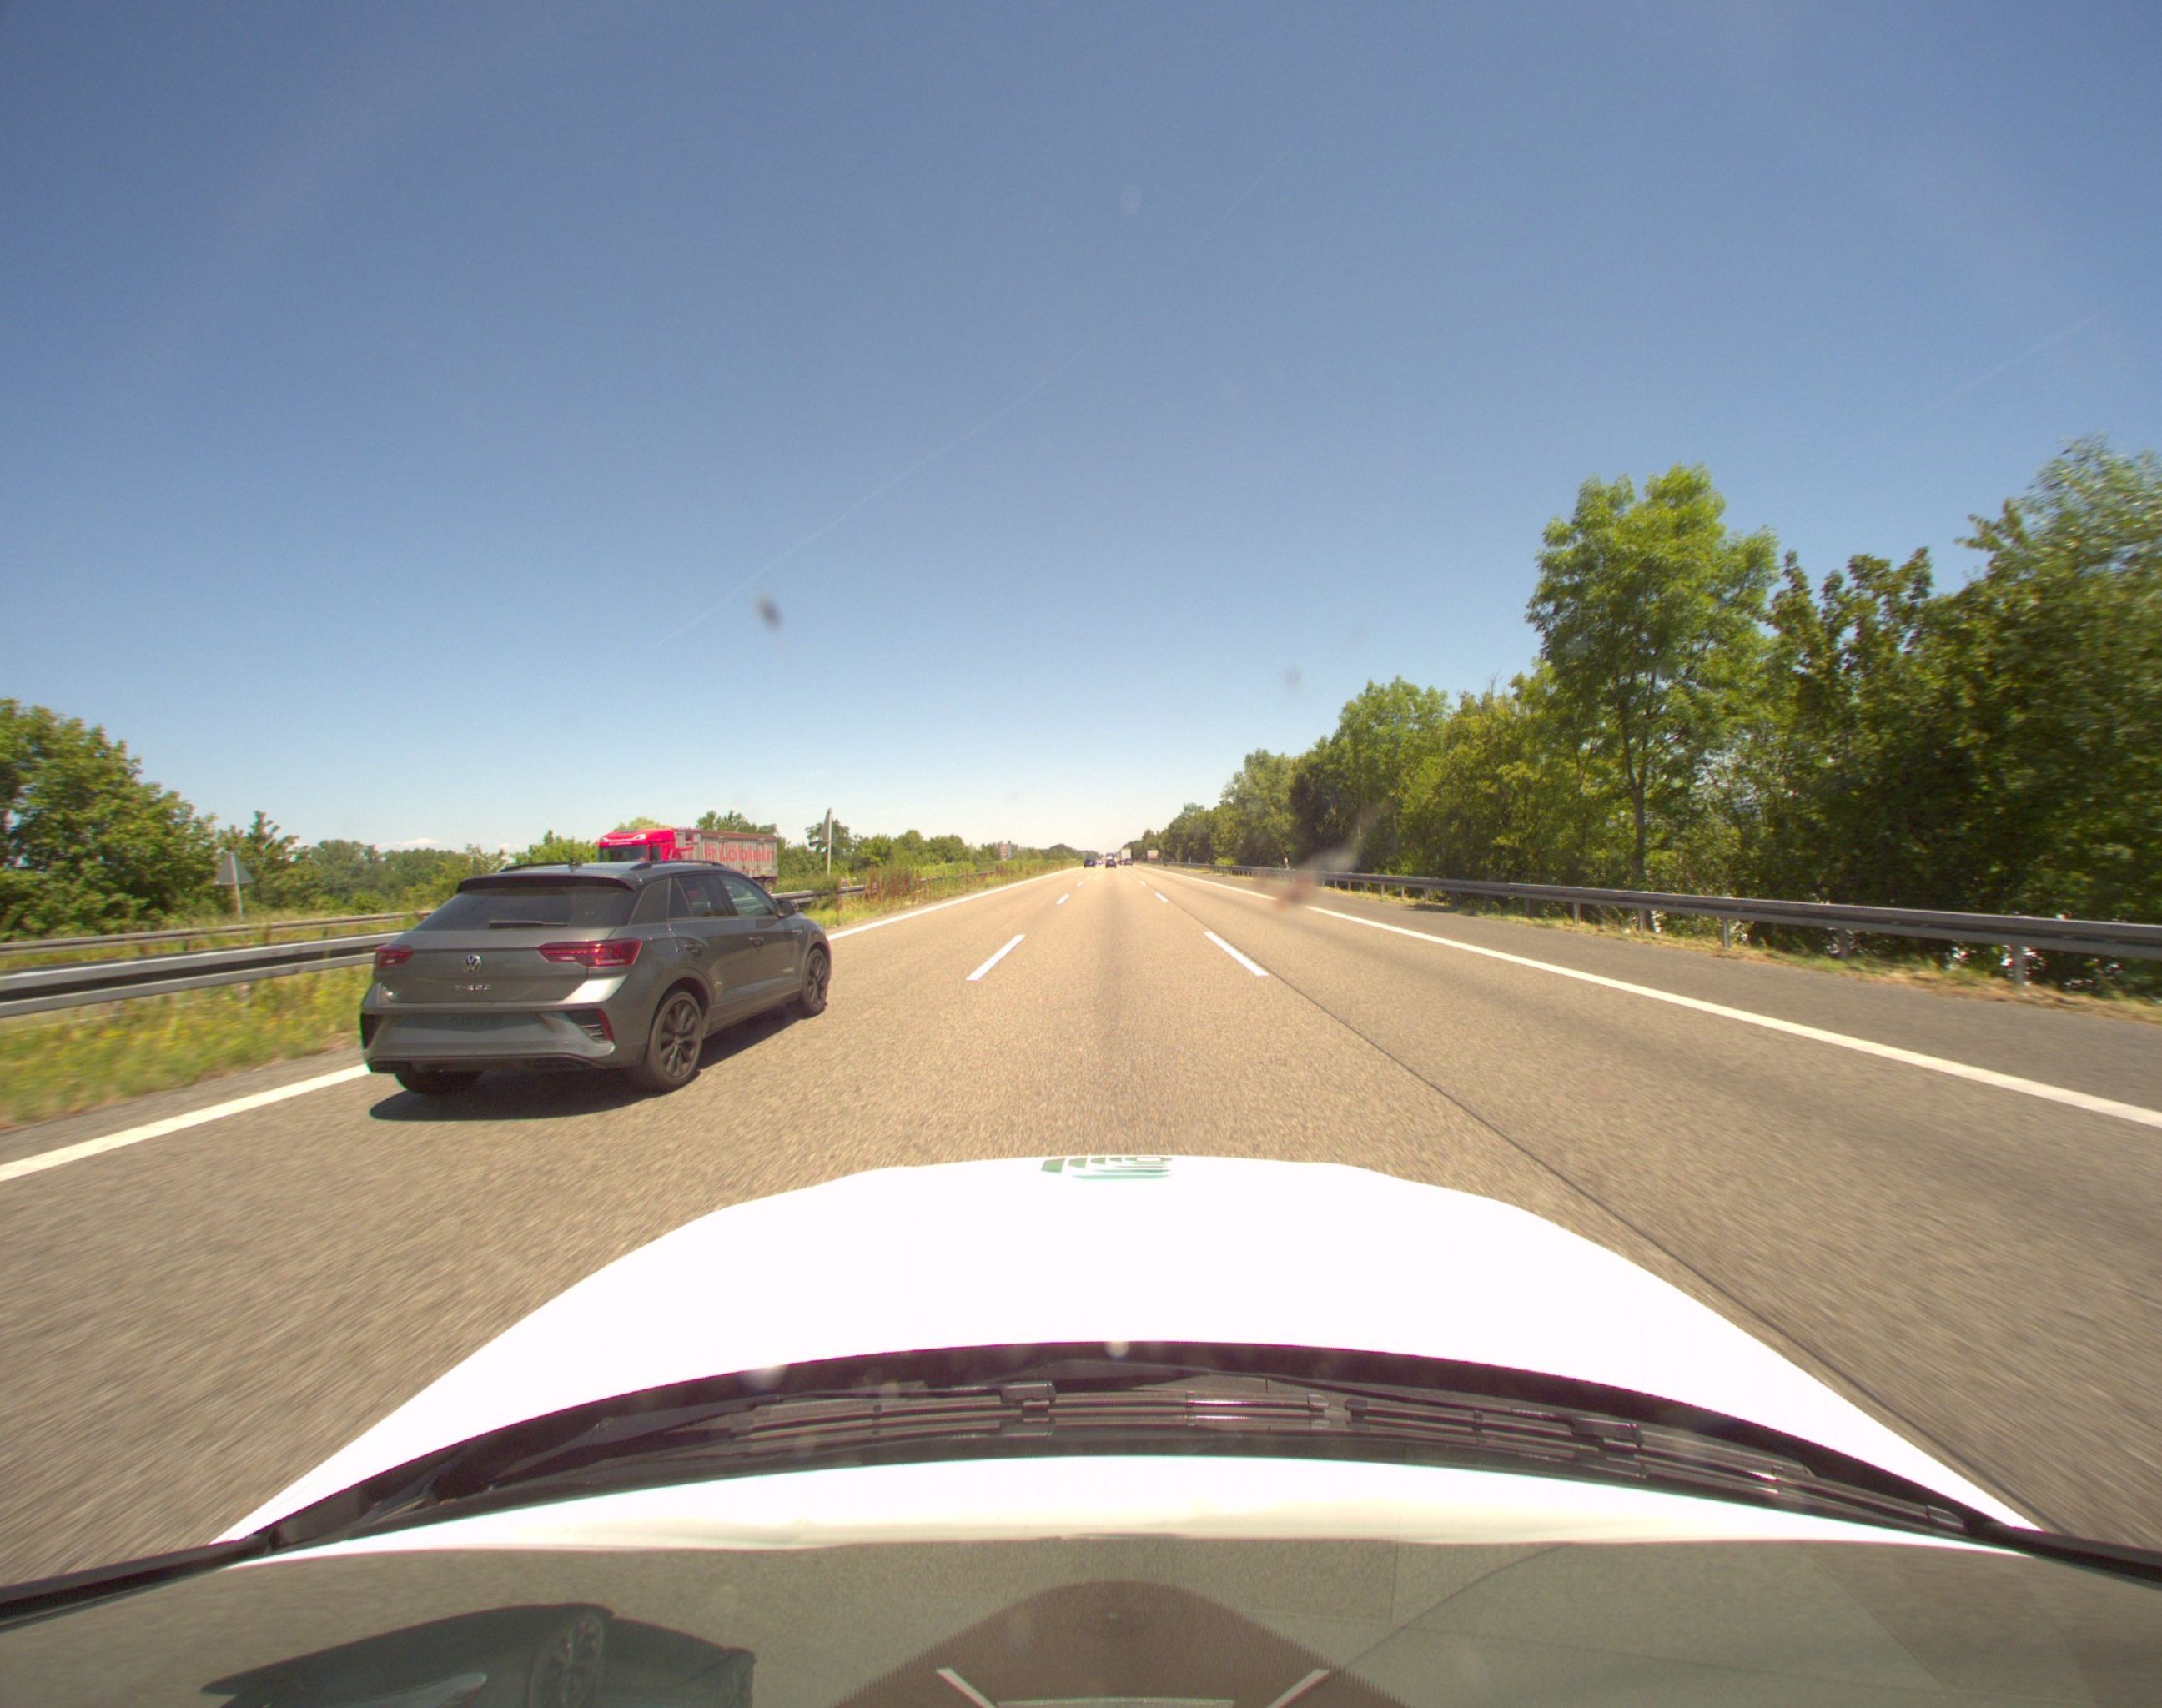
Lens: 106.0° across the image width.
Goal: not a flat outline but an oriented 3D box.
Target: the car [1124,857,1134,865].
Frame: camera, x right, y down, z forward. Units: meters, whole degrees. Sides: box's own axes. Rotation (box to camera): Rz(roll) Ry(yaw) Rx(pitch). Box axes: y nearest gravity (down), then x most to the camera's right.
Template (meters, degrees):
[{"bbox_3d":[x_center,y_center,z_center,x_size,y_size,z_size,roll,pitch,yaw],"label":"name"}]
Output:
[{"bbox_3d":[10.477,1.464,178.071,2.120,1.584,4.307,-2,0,2],"label":"car"}]

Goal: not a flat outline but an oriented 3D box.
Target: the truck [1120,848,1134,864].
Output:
[{"bbox_3d":[11.778,0.590,209.098,3.372,3.970,9.543,-2,0,3],"label":"truck"}]

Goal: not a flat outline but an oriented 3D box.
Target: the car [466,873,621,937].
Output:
[{"bbox_3d":[-16.240,1.487,24.908,1.647,1.645,4.336,-2,0,3],"label":"car"}]

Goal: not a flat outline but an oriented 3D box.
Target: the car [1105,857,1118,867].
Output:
[{"bbox_3d":[4.846,1.255,128.412,1.895,1.584,4.307,-2,0,2],"label":"car"}]

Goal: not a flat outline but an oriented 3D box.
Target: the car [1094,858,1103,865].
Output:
[{"bbox_3d":[4.535,1.855,211.529,2.120,1.645,4.307,-2,0,2],"label":"car"}]

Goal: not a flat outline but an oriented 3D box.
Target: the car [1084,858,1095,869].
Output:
[{"bbox_3d":[1.447,1.581,142.738,1.873,1.792,4.001,-1,1,1],"label":"car"}]

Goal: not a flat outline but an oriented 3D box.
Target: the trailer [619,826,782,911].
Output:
[{"bbox_3d":[-19.791,0.696,43.532,3.066,3.869,10.914,-2,0,3],"label":"trailer"}]

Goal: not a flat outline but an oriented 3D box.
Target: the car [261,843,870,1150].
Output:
[{"bbox_3d":[-3.499,0.757,7.003,1.873,1.640,5.011,-1,1,2],"label":"car"}]

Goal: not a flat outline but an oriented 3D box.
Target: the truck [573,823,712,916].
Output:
[{"bbox_3d":[-20.038,0.669,37.636,3.066,3.869,5.594,-2,0,2],"label":"truck"}]
